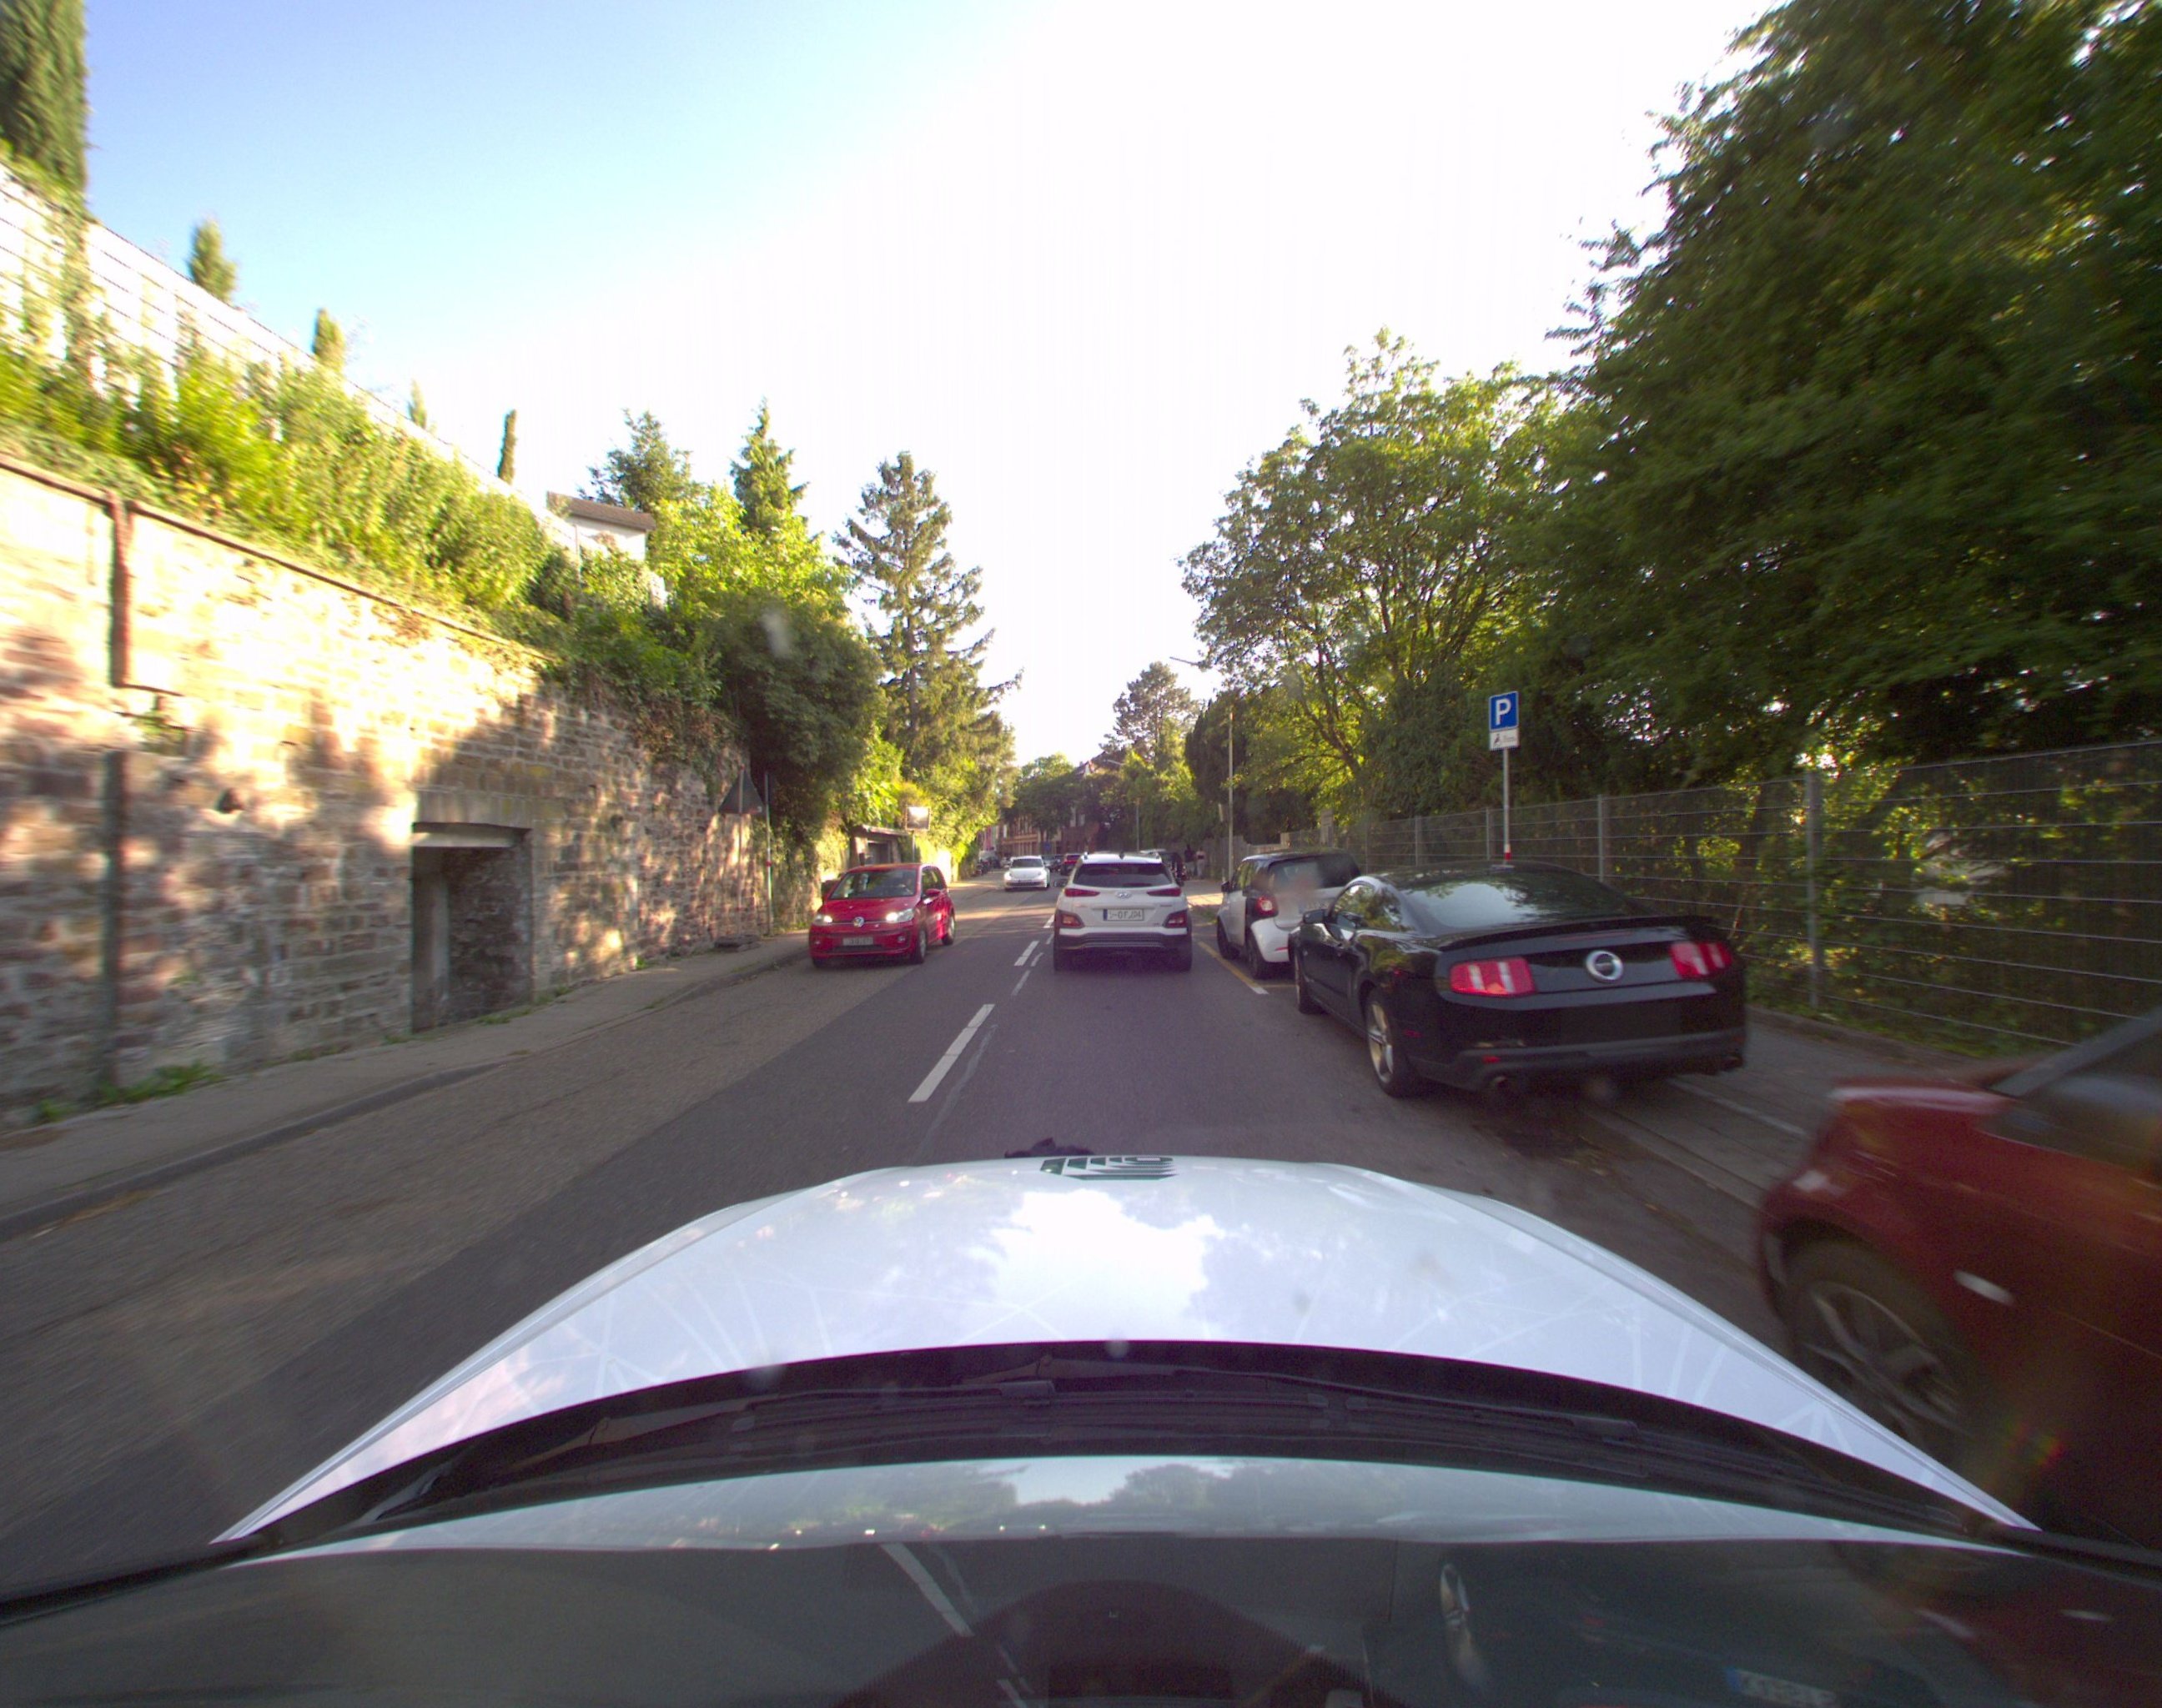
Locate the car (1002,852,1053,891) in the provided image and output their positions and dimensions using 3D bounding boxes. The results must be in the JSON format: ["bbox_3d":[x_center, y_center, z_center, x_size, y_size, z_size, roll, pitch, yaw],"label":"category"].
[{"bbox_3d":[-2.276,0.731,35.505,1.734,1.474,4.002,-5,0,2],"label":"car"}]

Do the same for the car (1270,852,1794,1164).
[{"bbox_3d":[2.771,0.747,6.418,1.703,1.497,4.818,1,0,3],"label":"car"}]

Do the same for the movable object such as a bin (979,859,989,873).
[{"bbox_3d":[-8.056,1.006,67.703,0.789,1.189,0.772,0,-1,0],"label":"movable object such as a bin"}]

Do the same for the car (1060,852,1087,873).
[{"bbox_3d":[-0.544,0.599,58.820,1.591,1.461,3.091,-1,0,-7],"label":"car"}]

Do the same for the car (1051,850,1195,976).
[{"bbox_3d":[0.586,0.727,12.050,1.765,1.542,4.002,-1,0,2],"label":"car"}]

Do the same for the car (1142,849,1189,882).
[{"bbox_3d":[4.061,0.531,39.722,1.682,1.431,3.998,-3,0,-1],"label":"car"}]

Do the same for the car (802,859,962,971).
[{"bbox_3d":[-3.045,0.858,13.154,1.545,1.466,3.570,-3,0,1],"label":"car"}]

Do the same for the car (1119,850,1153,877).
[{"bbox_3d":[3.374,0.566,50.421,1.590,1.519,3.927,-4,0,-3],"label":"car"}]

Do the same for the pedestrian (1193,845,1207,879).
[{"bbox_3d":[5.721,0.383,39.223,0.501,1.569,0.504,-3,0,1],"label":"pedestrian"}]

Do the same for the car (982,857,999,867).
[{"bbox_3d":[-11.767,1.003,105.393,1.531,1.260,3.341,-1,0,-17],"label":"car"}]

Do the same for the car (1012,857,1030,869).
[{"bbox_3d":[-6.584,0.999,88.948,1.528,1.260,3.347,-1,0,-11],"label":"car"}]

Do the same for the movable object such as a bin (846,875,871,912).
[{"bbox_3d":[-5.846,1.029,21.403,0.488,0.964,0.583,0,0,-1],"label":"movable object such as a bin"}]

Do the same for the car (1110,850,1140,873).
[{"bbox_3d":[3.001,0.500,56.216,1.590,1.489,3.598,-4,0,-3],"label":"car"}]

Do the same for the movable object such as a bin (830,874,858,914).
[{"bbox_3d":[-5.908,0.998,20.322,0.571,0.985,0.438,0,-1,-1],"label":"movable object such as a bin"}]

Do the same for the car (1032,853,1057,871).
[{"bbox_3d":[-3.370,0.723,74.273,1.592,1.582,3.345,-1,0,-14],"label":"car"}]

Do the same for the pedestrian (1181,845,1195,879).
[{"bbox_3d":[5.154,0.387,39.234,0.501,1.606,0.491,-3,0,1],"label":"pedestrian"}]

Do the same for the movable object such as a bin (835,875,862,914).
[{"bbox_3d":[-5.941,1.037,20.810,0.571,0.985,0.438,0,-1,-1],"label":"movable object such as a bin"}]

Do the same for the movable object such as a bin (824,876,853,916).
[{"bbox_3d":[-5.908,1.022,19.863,0.582,0.937,0.438,0,-1,-1],"label":"movable object such as a bin"}]

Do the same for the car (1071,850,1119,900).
[{"bbox_3d":[0.425,0.652,27.715,1.507,1.533,3.546,-1,0,-1],"label":"car"}]

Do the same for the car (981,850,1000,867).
[{"bbox_3d":[-13.847,0.688,124.299,1.934,2.583,4.368,-2,0,-17],"label":"car"}]

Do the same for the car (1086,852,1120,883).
[{"bbox_3d":[1.123,0.659,41.000,1.564,1.477,3.551,0,0,4],"label":"car"}]

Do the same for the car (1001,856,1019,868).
[{"bbox_3d":[-9.679,1.080,110.549,1.759,1.616,3.978,0,1,-16],"label":"car"}]

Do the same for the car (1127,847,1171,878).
[{"bbox_3d":[3.706,0.461,45.158,1.592,1.565,3.990,-3,0,-7],"label":"car"}]

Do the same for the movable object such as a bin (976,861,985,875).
[{"bbox_3d":[-7.116,0.993,57.698,0.493,1.011,1.113,0,-1,1],"label":"movable object such as a bin"}]

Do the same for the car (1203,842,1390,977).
[{"bbox_3d":[2.793,0.639,11.169,1.621,1.509,2.901,-3,1,-3],"label":"car"}]

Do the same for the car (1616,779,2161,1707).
[{"bbox_3d":[2.585,0.619,1.223,1.646,1.564,2.875,-6,-1,3],"label":"car"}]
